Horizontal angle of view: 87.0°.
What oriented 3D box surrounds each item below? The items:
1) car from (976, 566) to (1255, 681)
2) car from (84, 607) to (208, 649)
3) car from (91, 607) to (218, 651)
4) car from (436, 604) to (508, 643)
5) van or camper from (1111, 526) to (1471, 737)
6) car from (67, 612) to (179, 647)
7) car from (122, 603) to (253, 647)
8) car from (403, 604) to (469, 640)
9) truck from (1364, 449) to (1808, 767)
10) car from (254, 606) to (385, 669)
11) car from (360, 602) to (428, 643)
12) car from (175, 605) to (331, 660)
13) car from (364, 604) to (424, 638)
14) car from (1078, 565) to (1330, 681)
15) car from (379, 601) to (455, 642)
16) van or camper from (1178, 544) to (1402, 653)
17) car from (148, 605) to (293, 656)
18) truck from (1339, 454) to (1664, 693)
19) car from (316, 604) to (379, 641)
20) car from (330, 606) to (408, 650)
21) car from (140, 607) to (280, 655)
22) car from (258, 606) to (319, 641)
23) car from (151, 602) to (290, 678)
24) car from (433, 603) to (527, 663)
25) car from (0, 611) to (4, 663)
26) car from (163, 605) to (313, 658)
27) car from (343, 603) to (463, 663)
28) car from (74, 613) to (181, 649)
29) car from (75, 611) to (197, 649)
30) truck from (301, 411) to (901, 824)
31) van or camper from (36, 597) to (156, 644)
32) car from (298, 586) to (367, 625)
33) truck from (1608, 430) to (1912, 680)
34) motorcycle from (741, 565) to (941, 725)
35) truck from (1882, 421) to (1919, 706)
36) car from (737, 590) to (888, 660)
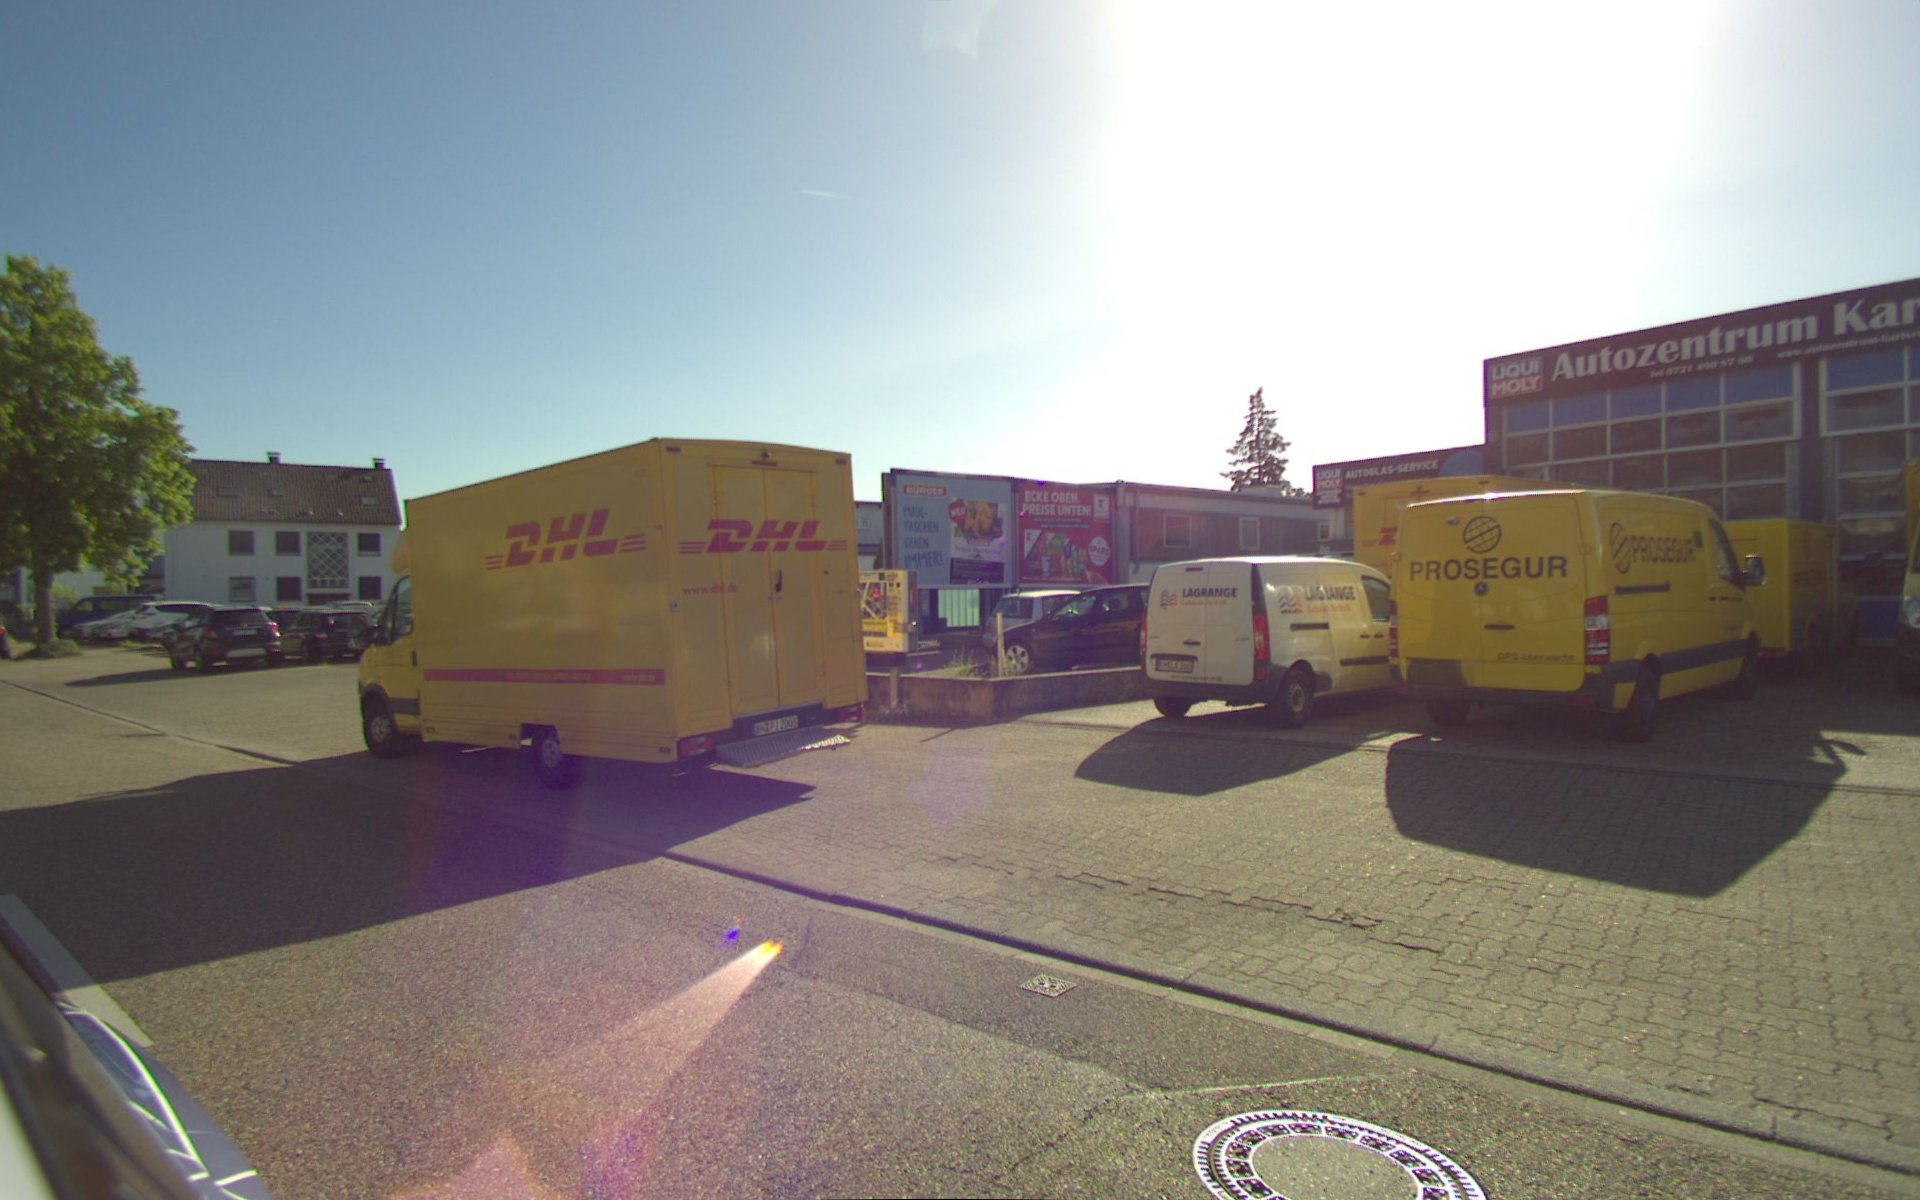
[{"bbox_3d":[2.514,0.433,16.966,4.209,1.574,1.846,-6,-3,40],"label":"car"},{"bbox_3d":[-37.051,1.247,46.138,1.766,1.766,4.202,-1,0,43],"label":"car"},{"bbox_3d":[-35.254,1.233,44.381,4.200,1.741,1.767,-1,0,-45],"label":"car"},{"bbox_3d":[-21.065,0.974,43.648,1.645,1.576,3.852,-1,0,-44],"label":"car"},{"bbox_3d":[4.099,0.293,12.138,4.490,2.029,2.253,-1,0,-44],"label":"van or camper"},{"bbox_3d":[-41.894,1.457,50.721,4.200,1.553,1.767,-2,1,-45],"label":"car"},{"bbox_3d":[-33.144,1.046,43.499,1.764,1.741,4.206,-1,0,40],"label":"car"},{"bbox_3d":[-24.248,1.013,46.769,1.645,1.576,3.784,-1,0,-44],"label":"car"},{"bbox_3d":[6.977,-0.041,10.933,5.847,2.587,2.228,-3,1,-39],"label":"truck"},{"bbox_3d":[-18.050,1.003,28.463,4.272,1.602,1.843,-1,0,39],"label":"car"},{"bbox_3d":[-24.922,0.961,44.513,1.645,1.706,4.003,-1,0,-44],"label":"car"},{"bbox_3d":[-24.315,1.072,34.902,4.200,1.741,1.767,-1,0,-45],"label":"car"},{"bbox_3d":[-27.743,1.023,49.578,1.645,1.576,3.718,-1,0,-44],"label":"car"},{"bbox_3d":[4.337,0.358,18.367,1.971,1.829,4.003,-3,2,-44],"label":"car"},{"bbox_3d":[-21.862,0.849,40.713,1.645,1.576,4.003,-1,0,-44],"label":"car"},{"bbox_3d":[6.727,-0.002,20.803,3.994,2.029,1.843,-1,0,38],"label":"van or camper"},{"bbox_3d":[-27.841,1.105,38.187,4.200,1.741,1.767,-1,0,-45],"label":"car"},{"bbox_3d":[8.719,-0.458,16.064,5.597,3.142,2.527,-3,1,-39],"label":"truck"},{"bbox_3d":[-28.970,1.040,47.817,1.645,1.631,4.003,-1,0,-44],"label":"car"},{"bbox_3d":[-22.504,1.035,38.479,1.645,1.528,4.003,-1,0,-44],"label":"car"},{"bbox_3d":[-29.587,1.177,40.010,1.765,1.741,4.204,-1,0,41],"label":"car"},{"bbox_3d":[-31.320,1.077,47.141,1.645,1.528,4.003,-1,0,-44],"label":"car"},{"bbox_3d":[-19.452,0.999,26.571,4.272,1.727,1.843,-1,3,39],"label":"car"},{"bbox_3d":[-15.398,1.045,32.374,1.754,1.761,4.171,-1,-1,-39],"label":"car"},{"bbox_3d":[-34.731,1.328,35.107,4.550,1.784,1.658,-1,2,39],"label":"car"},{"bbox_3d":[-26.062,1.092,36.600,4.200,1.741,1.767,-1,0,-45],"label":"car"},{"bbox_3d":[-16.579,0.940,30.026,4.276,1.602,1.841,-1,0,43],"label":"car"},{"bbox_3d":[-40.278,1.475,49.019,1.547,1.553,3.767,-1,1,40],"label":"car"},{"bbox_3d":[-38.789,1.381,47.721,1.763,1.597,4.208,-2,0,38],"label":"car"},{"bbox_3d":[-4.133,0.126,10.570,7.237,3.005,2.380,-1,2,39],"label":"truck"},{"bbox_3d":[-46.577,1.056,54.724,4.830,2.337,2.248,-2,1,-39],"label":"van or camper"},{"bbox_3d":[-26.645,0.241,42.909,1.645,1.528,4.003,-1,0,-44],"label":"car"},{"bbox_3d":[11.645,-0.560,14.588,5.265,2.995,2.177,-1,0,-38],"label":"truck"},{"bbox_3d":[-1.654,0.564,13.427,3.041,1.887,0.772,-2,2,44],"label":"motorcycle"},{"bbox_3d":[12.941,-0.484,11.794,6.013,2.994,2.177,-2,1,-38],"label":"truck"},{"bbox_3d":[-3.744,0.632,25.067,1.754,1.557,4.305,-1,-1,-39],"label":"car"}]
